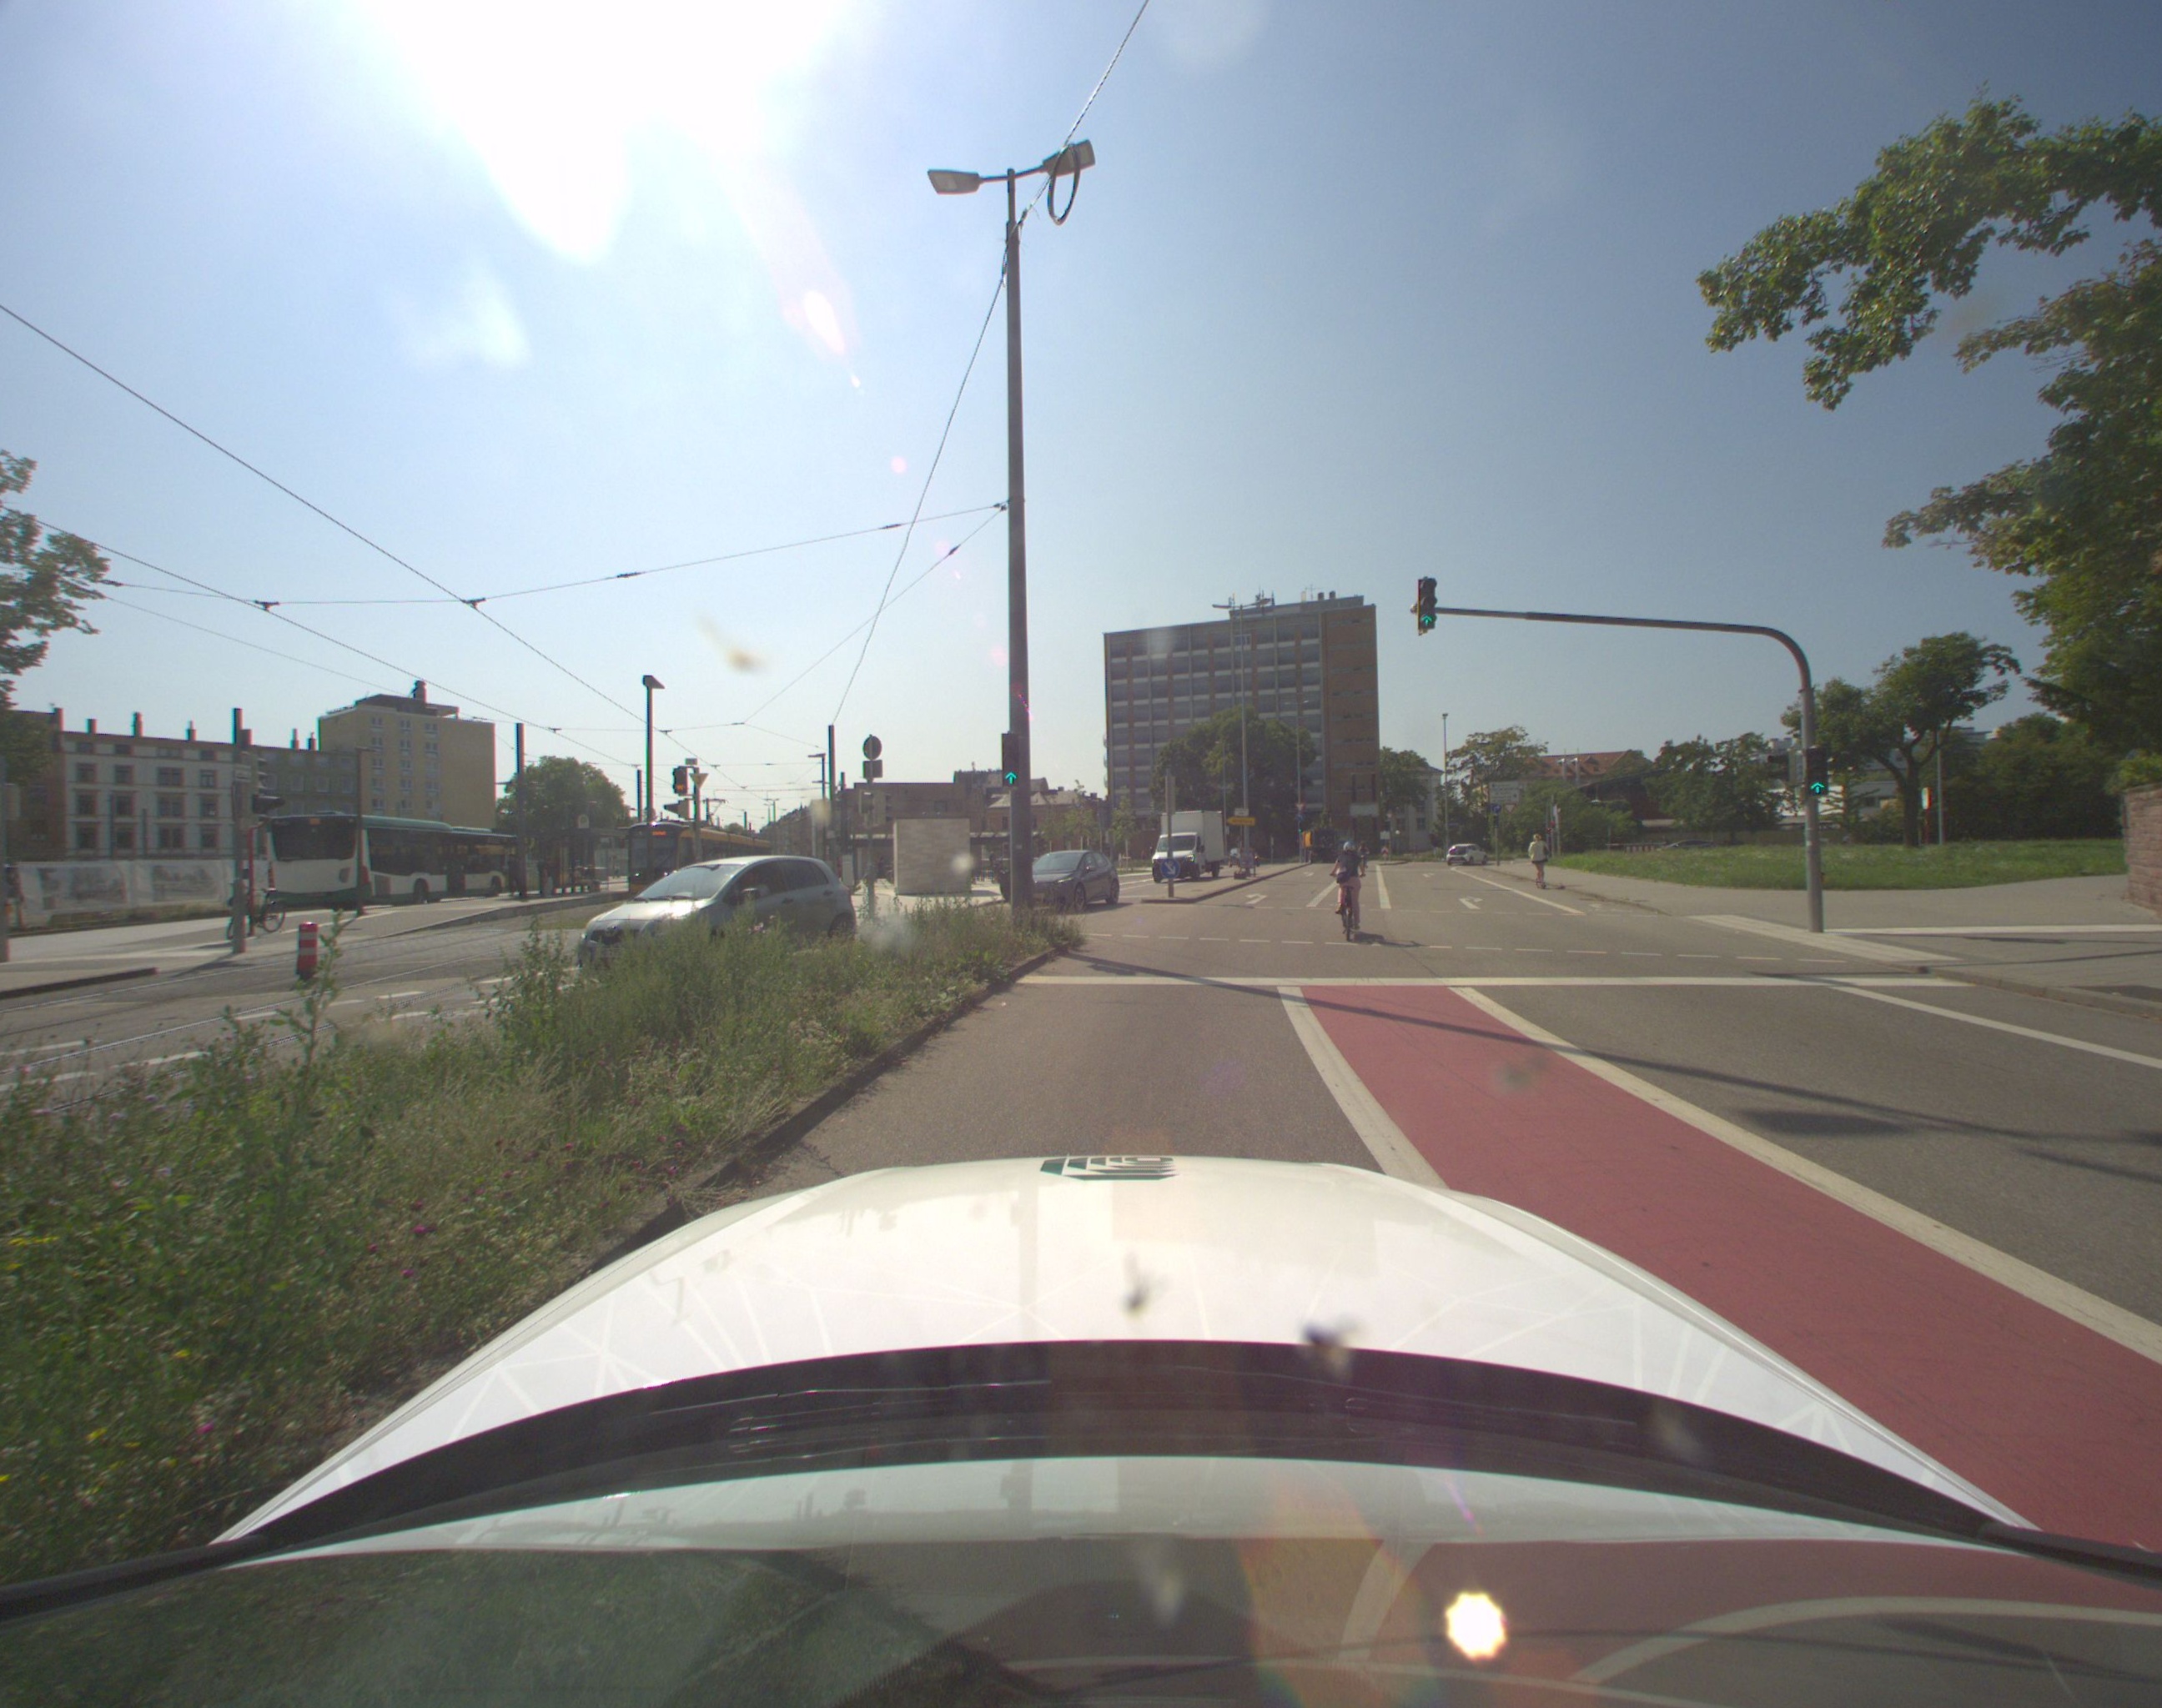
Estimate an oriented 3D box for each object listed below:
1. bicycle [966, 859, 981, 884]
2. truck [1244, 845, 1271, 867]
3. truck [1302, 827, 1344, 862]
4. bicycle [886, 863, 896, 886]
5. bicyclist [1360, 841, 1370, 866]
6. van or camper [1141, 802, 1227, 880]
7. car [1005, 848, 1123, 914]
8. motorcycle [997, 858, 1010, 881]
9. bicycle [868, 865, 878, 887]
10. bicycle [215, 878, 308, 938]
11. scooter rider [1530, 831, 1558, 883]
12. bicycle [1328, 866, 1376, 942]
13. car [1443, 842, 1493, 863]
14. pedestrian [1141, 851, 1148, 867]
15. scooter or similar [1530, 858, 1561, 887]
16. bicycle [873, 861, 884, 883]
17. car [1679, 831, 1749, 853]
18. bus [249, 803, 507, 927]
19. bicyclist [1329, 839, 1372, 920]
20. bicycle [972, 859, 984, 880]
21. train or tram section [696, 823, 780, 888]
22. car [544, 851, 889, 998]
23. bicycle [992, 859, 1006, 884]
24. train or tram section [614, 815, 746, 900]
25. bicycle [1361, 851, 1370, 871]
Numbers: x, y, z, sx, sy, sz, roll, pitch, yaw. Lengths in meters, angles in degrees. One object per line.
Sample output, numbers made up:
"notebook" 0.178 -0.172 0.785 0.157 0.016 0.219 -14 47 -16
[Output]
"bicycle" -5.399 0.852 40.837 0.603 1.210 1.808 -1 0 -4
"truck" 13.115 0.114 60.383 1.542 1.504 3.638 -2 0 19
"truck" 21.565 -0.796 72.694 2.681 2.990 5.979 -1 0 8
"bicycle" -9.311 0.997 39.955 0.465 1.100 1.416 -1 0 -13
"bicyclist" 16.445 -0.006 47.160 0.446 1.421 0.498 -2 0 19
"van or camper" 5.088 -0.587 39.011 2.380 3.306 7.227 -2 0 20
"car" -0.329 0.647 21.652 1.682 1.530 4.204 -2 0 20
"motorcycle" -4.408 0.864 46.478 0.603 1.210 2.250 -1 0 -4
"bicycle" -10.045 1.044 39.349 0.465 1.032 1.541 -1 0 -13
"bicycle" -18.624 1.196 18.558 0.607 1.222 1.699 -1 0 -11
"scooter rider" 16.152 0.111 28.420 0.755 1.775 0.558 -1 0 24
"bicycle" 4.563 0.808 13.789 0.599 1.163 1.817 -1 0 14
"car" 27.066 -0.126 56.889 4.023 1.391 1.826 -2 0 -44
"pedestrian" 6.298 0.492 80.593 0.532 1.552 0.413 -2 0 -26
"scooter or similar" 16.117 0.633 28.303 0.765 0.926 1.629 -1 0 24
"bicycle" -11.714 1.015 47.104 0.606 1.253 2.610 -1 0 -14
"car" 49.302 -0.893 63.527 3.952 1.565 1.833 -2 0 22
"bus" -25.270 0.356 30.277 2.963 3.775 10.540 -1 0 -15
"bicyclist" 4.542 0.420 13.766 0.598 1.335 0.662 -1 0 13
"bicycle" -6.094 0.889 48.212 0.603 1.210 1.808 -1 0 -4
"train or tram section" -25.087 0.181 60.727 2.891 4.068 19.046 -1 0 -14
"car" -4.532 0.761 10.969 1.637 1.530 4.347 -2 0 20
"bicycle" -4.100 0.853 40.901 0.603 1.210 1.808 -1 0 -4
"train or tram section" -20.430 0.184 42.963 2.861 3.548 17.649 -1 0 -15
"bicycle" 16.424 0.407 47.052 0.440 1.116 1.453 -2 0 19
